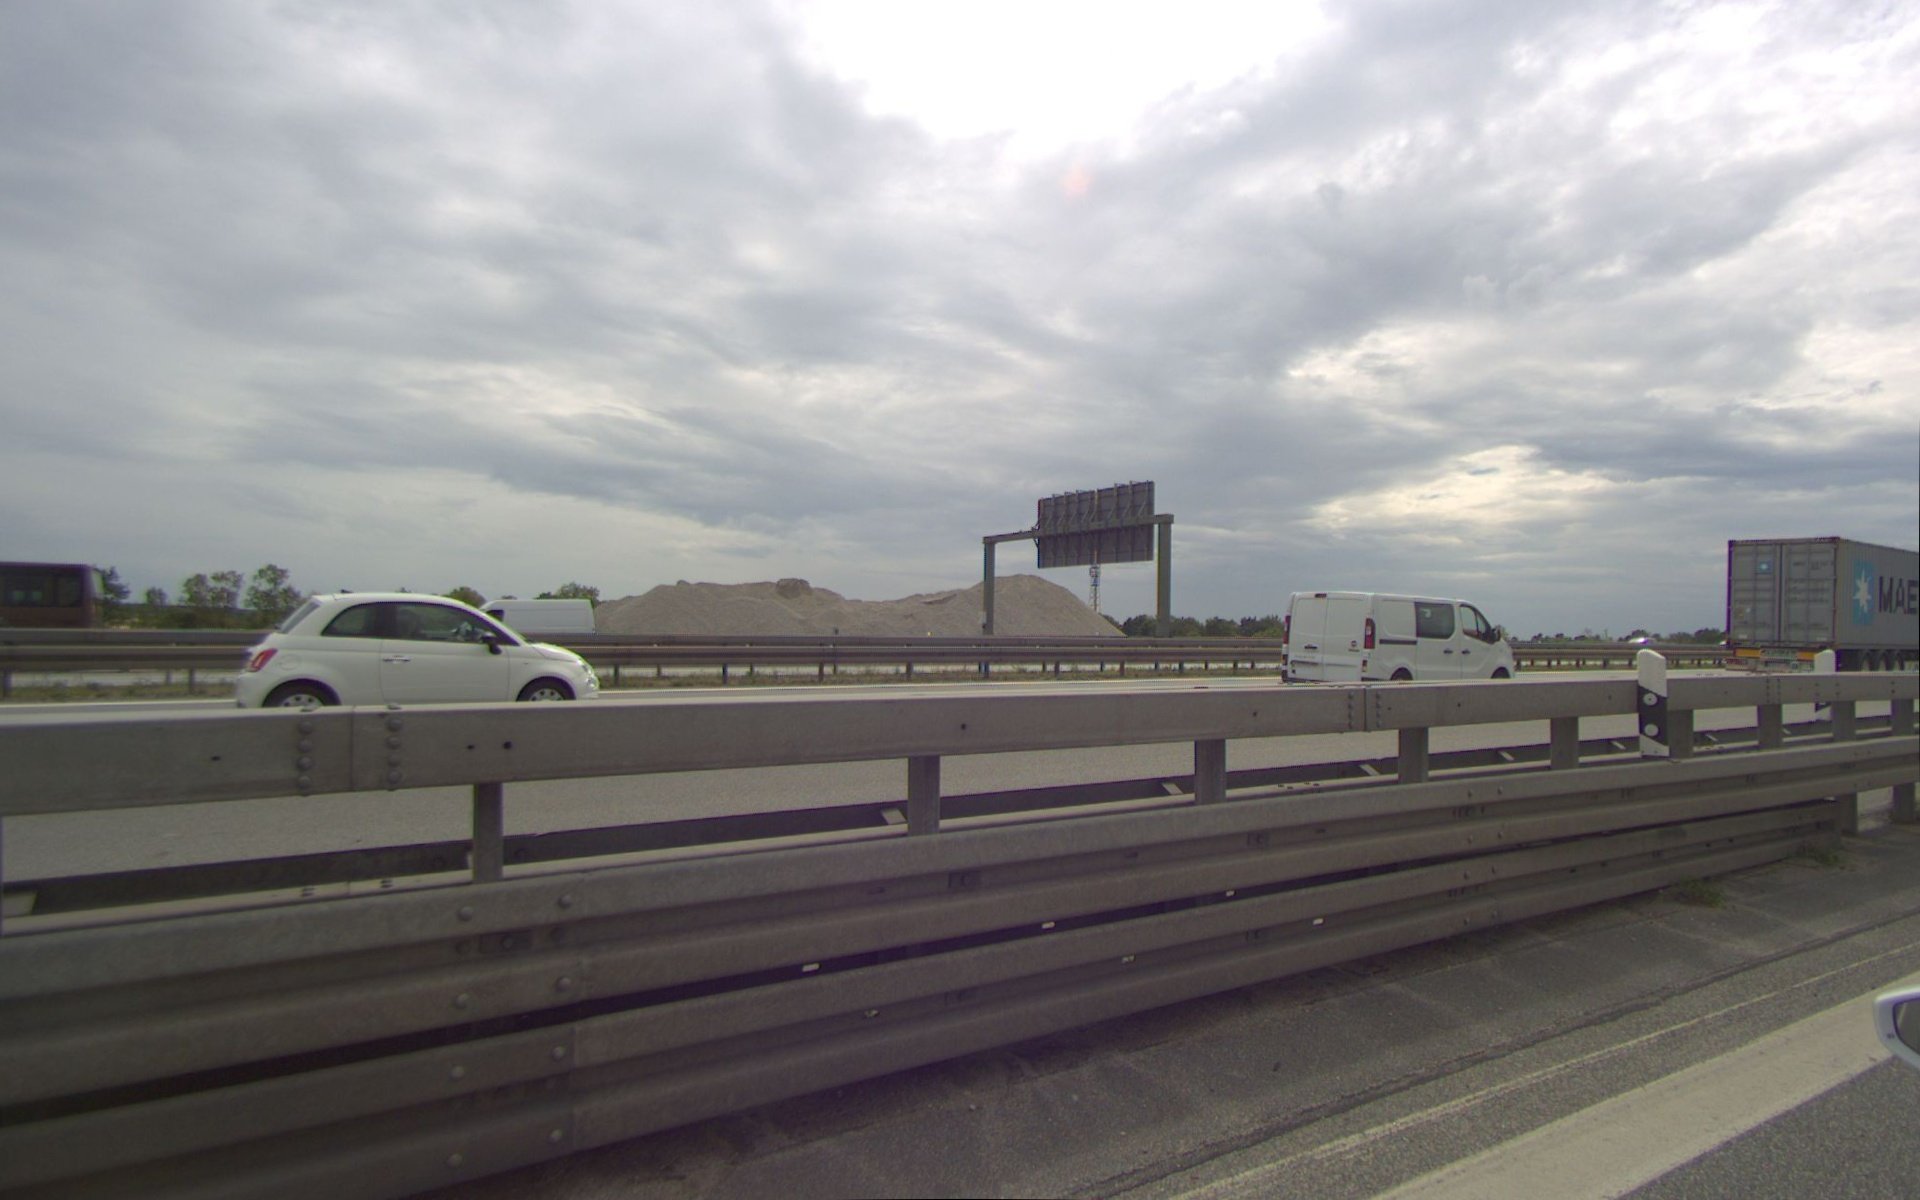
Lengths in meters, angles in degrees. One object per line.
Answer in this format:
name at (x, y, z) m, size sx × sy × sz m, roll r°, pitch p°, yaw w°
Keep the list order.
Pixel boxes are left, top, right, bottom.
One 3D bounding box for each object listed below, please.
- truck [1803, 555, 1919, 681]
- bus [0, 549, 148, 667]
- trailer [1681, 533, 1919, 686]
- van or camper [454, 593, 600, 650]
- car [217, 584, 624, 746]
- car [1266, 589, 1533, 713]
truck at (32.081, 0.642, 34.329) m, size 6.540 × 3.963 × 3.228 m, roll 2°, pitch 0°, yaw -33°
bus at (-31.847, 0.124, 28.885) m, size 12.859 × 3.488 × 3.193 m, roll 2°, pitch 0°, yaw -34°
trailer at (26.664, 0.408, 30.738) m, size 12.248 × 3.976 × 3.217 m, roll 2°, pitch 0°, yaw -33°
van or camper at (-16.501, 0.852, 38.373) m, size 4.832 × 2.040 × 1.981 m, roll 2°, pitch 0°, yaw -34°
car at (-5.872, 0.676, 11.152) m, size 3.738 × 1.504 × 1.669 m, roll 2°, pitch -2°, yaw -36°
car at (8.037, 0.883, 18.206) m, size 5.078 × 1.963 × 1.988 m, roll 2°, pitch -1°, yaw -33°
